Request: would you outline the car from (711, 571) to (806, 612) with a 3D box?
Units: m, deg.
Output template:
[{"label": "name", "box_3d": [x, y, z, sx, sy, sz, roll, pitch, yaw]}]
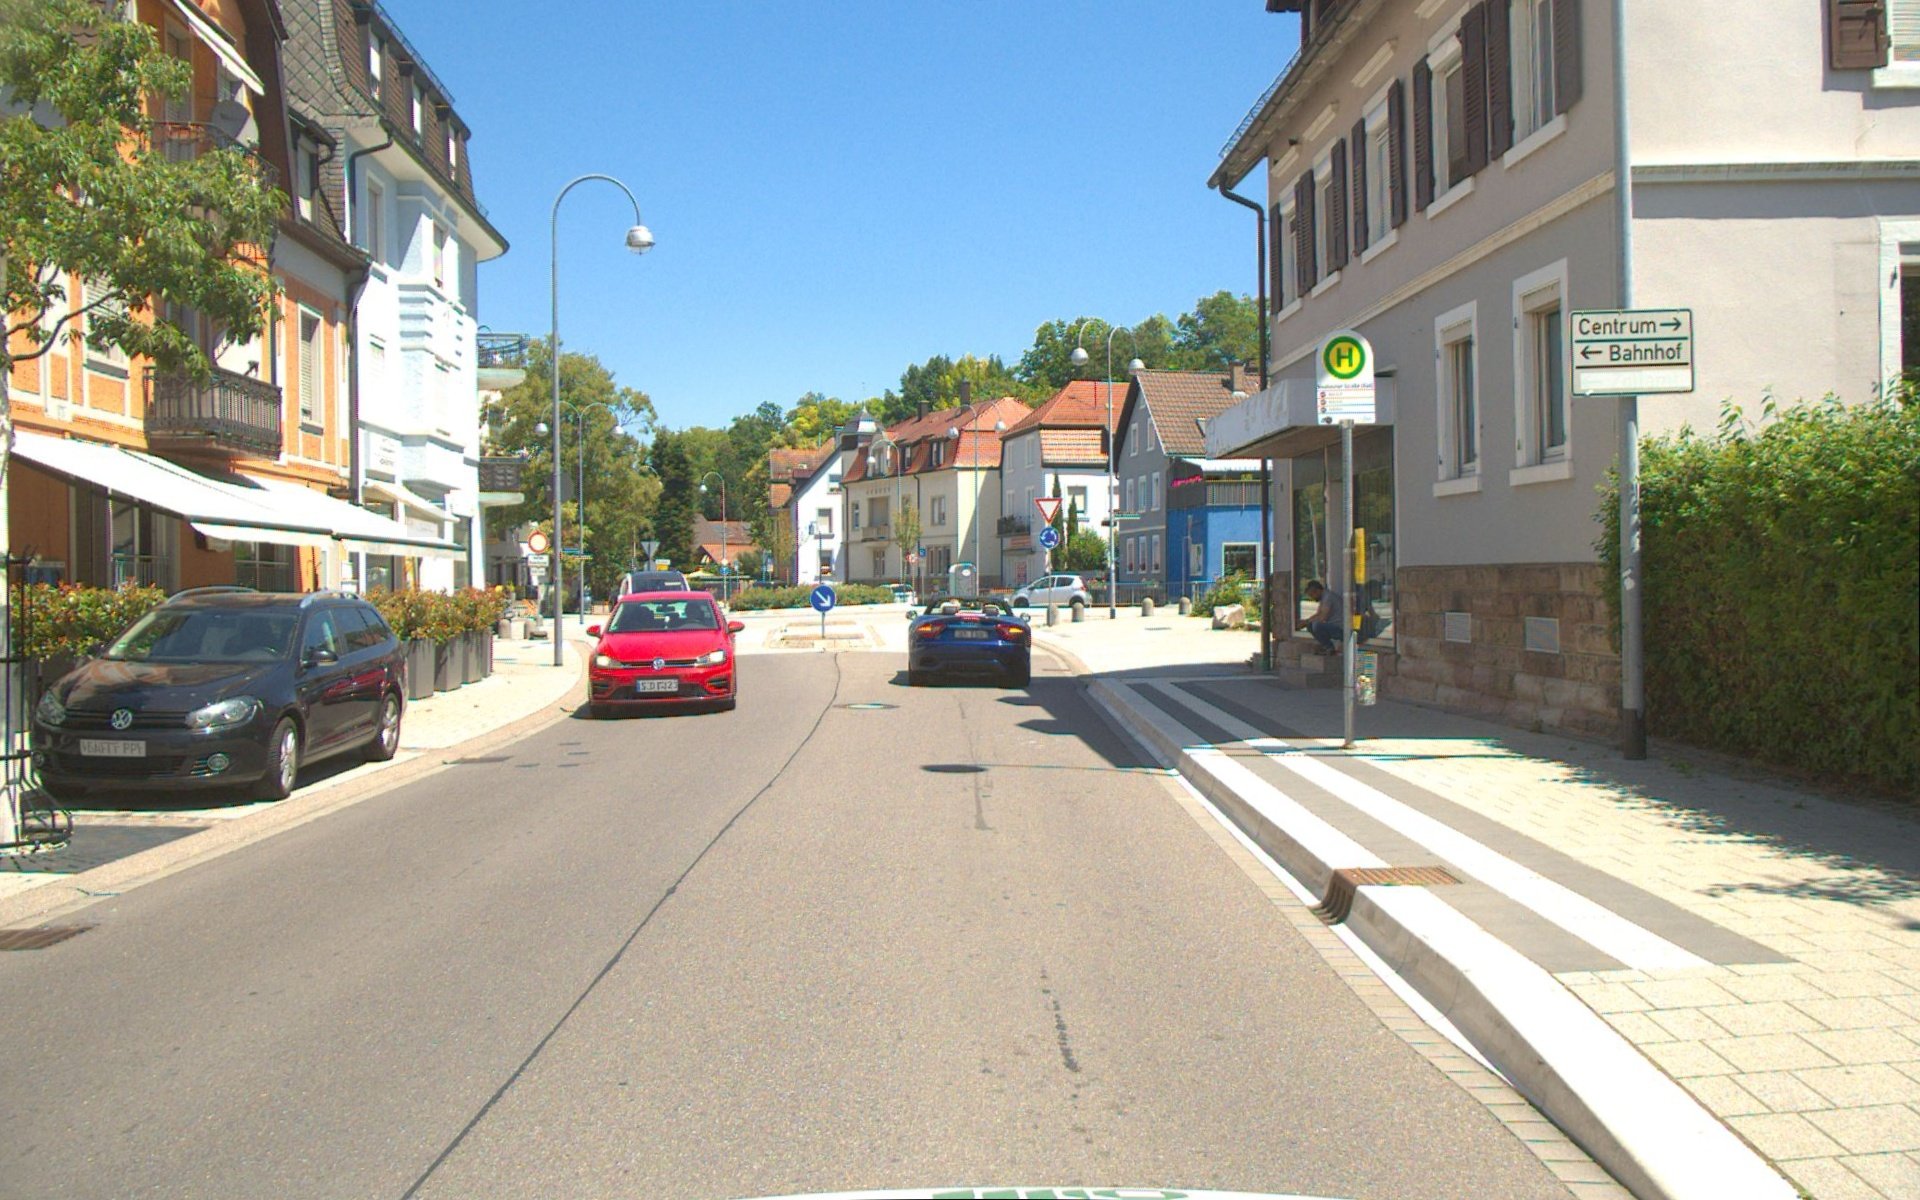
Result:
[{"label": "car", "box_3d": [-7.233, -0.291, 59.143, 1.971, 1.353, 4.161, -2, 1, -28]}]

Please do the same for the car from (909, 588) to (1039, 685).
[{"label": "car", "box_3d": [0.194, 0.513, 26.100, 1.871, 1.384, 4.285, 0, 0, 0]}]

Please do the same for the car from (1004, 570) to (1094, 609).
[{"label": "car", "box_3d": [3.650, -0.446, 67.639, 3.385, 1.475, 1.581, -2, 0, 14]}]

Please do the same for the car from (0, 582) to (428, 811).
[{"label": "car", "box_3d": [-5.894, 0.636, 13.404, 1.877, 1.507, 4.335, 2, 0, -2]}]

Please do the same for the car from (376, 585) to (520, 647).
[{"label": "car", "box_3d": [-16.637, 0.496, 53.836, 4.126, 1.907, 1.765, 0, 2, 12]}]

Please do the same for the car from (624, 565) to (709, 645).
[{"label": "car", "box_3d": [-7.548, 0.100, 42.466, 1.958, 1.853, 4.404, -2, 1, -11]}]

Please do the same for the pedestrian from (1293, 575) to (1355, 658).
[{"label": "pedestrian", "box_3d": [4.657, 0.204, 21.215, 0.578, 1.017, 0.723, -2, 1, -3]}]

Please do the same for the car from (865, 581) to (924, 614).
[{"label": "car", "box_3d": [-3.545, -0.098, 88.289, 1.891, 1.641, 4.121, -2, -1, -21]}]

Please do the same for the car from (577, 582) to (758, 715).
[{"label": "car", "box_3d": [-3.657, 0.552, 21.300, 1.878, 1.451, 3.976, -3, 1, -5]}]

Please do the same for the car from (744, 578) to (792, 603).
[{"label": "car", "box_3d": [-13.411, -0.635, 115.346, 1.832, 1.616, 3.957, -3, 1, -31]}]
